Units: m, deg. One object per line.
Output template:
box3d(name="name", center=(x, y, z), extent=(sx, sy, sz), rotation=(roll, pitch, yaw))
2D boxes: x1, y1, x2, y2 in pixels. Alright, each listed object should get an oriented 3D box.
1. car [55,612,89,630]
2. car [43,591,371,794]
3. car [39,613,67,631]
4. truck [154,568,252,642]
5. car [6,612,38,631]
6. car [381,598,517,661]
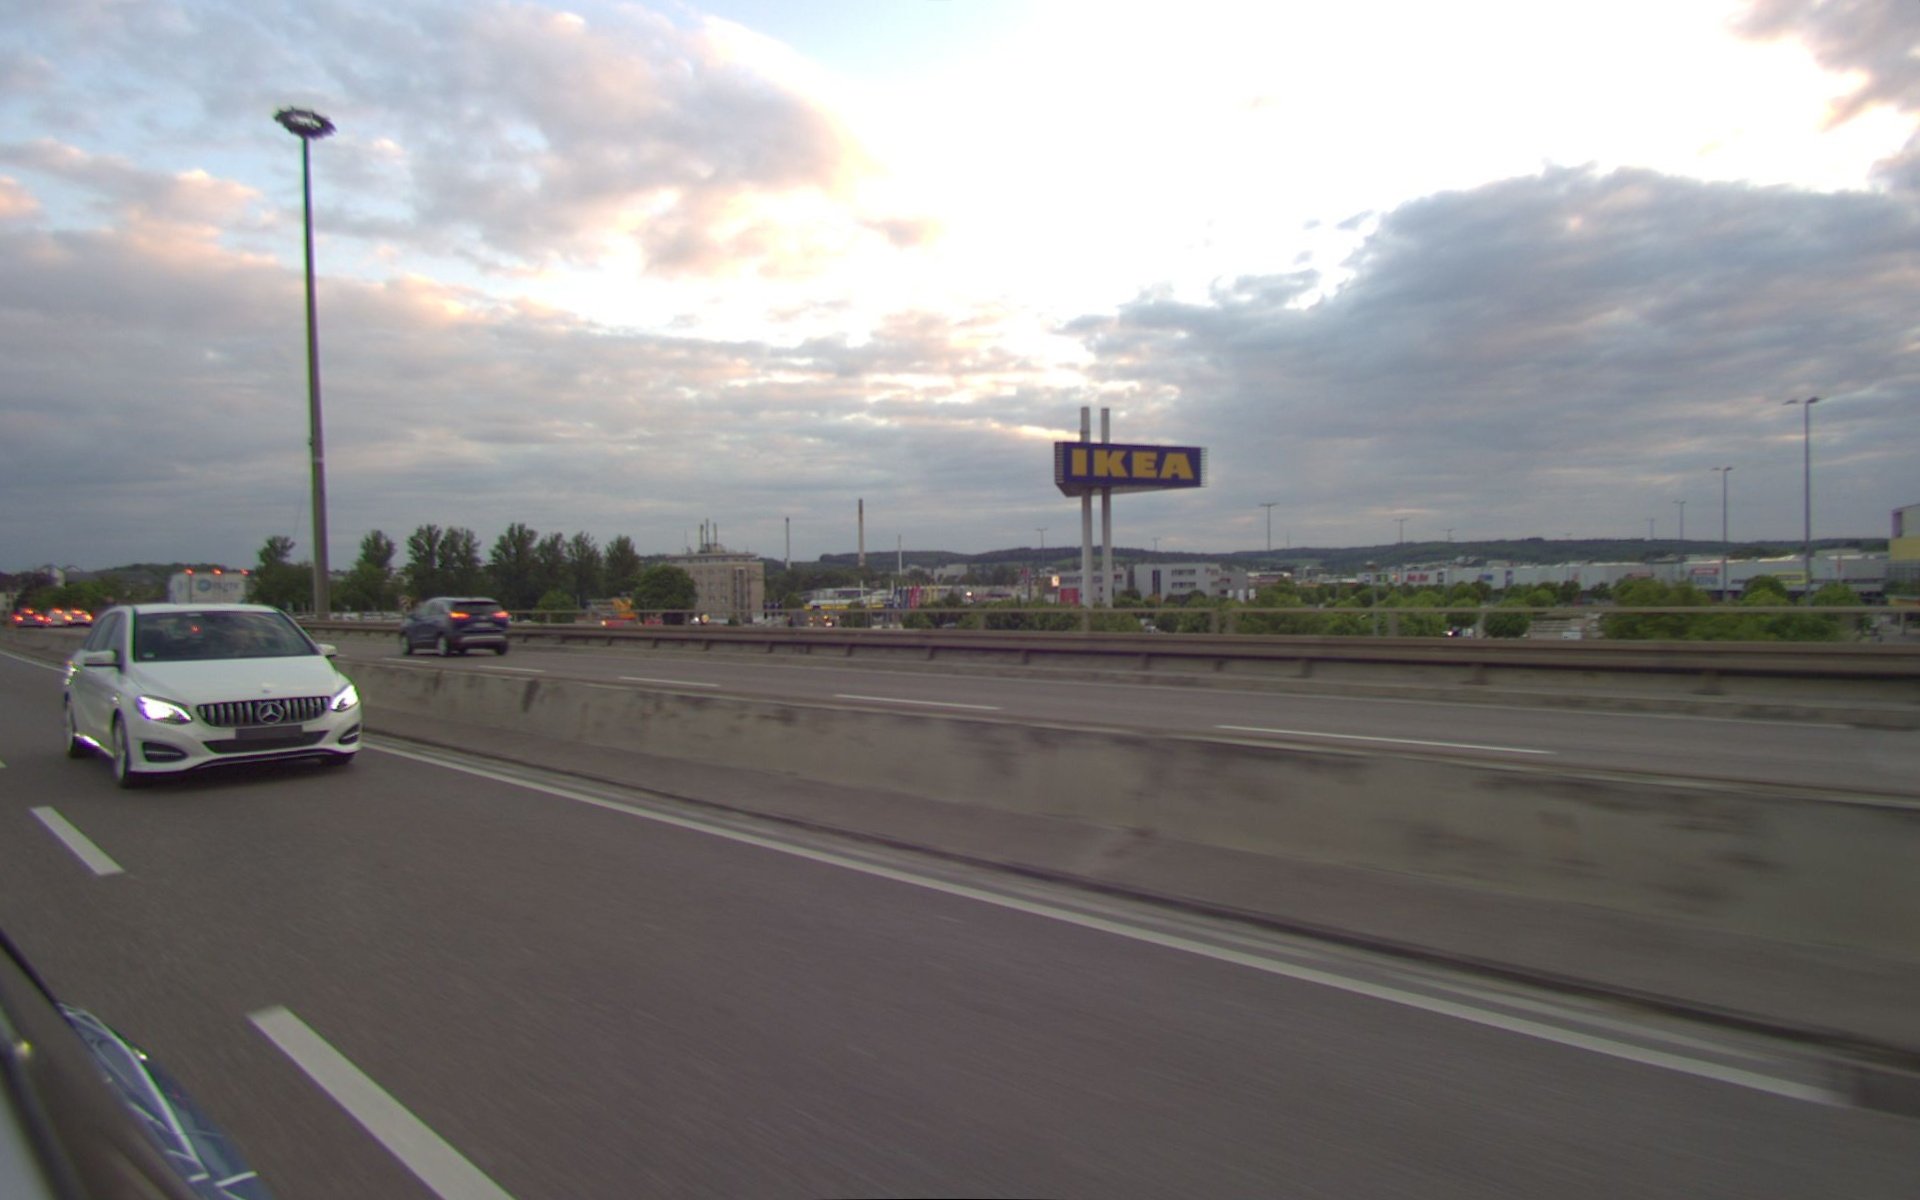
box3d(name="car", center=(-76.600, 1.801, 87.234), extent=(4.818, 1.514, 1.810), rotation=(-1, -1, 44))
box3d(name="car", center=(-7.601, 0.775, 10.004), extent=(4.781, 1.548, 1.673), rotation=(-2, -1, 42))
box3d(name="car", center=(-99.832, 2.401, 111.373), extent=(5.459, 1.915, 1.880), rotation=(-1, 0, 43))
box3d(name="truck", center=(-36.935, 0.239, 49.275), extent=(7.446, 3.321, 2.507), rotation=(-1, 0, 43))
box3d(name="car", center=(-76.487, 1.733, 82.545), extent=(3.835, 1.452, 1.611), rotation=(-2, -1, 43))
box3d(name="car", center=(-14.281, 0.776, 28.178), extent=(4.441, 1.618, 1.955), rotation=(-1, 0, 43))
